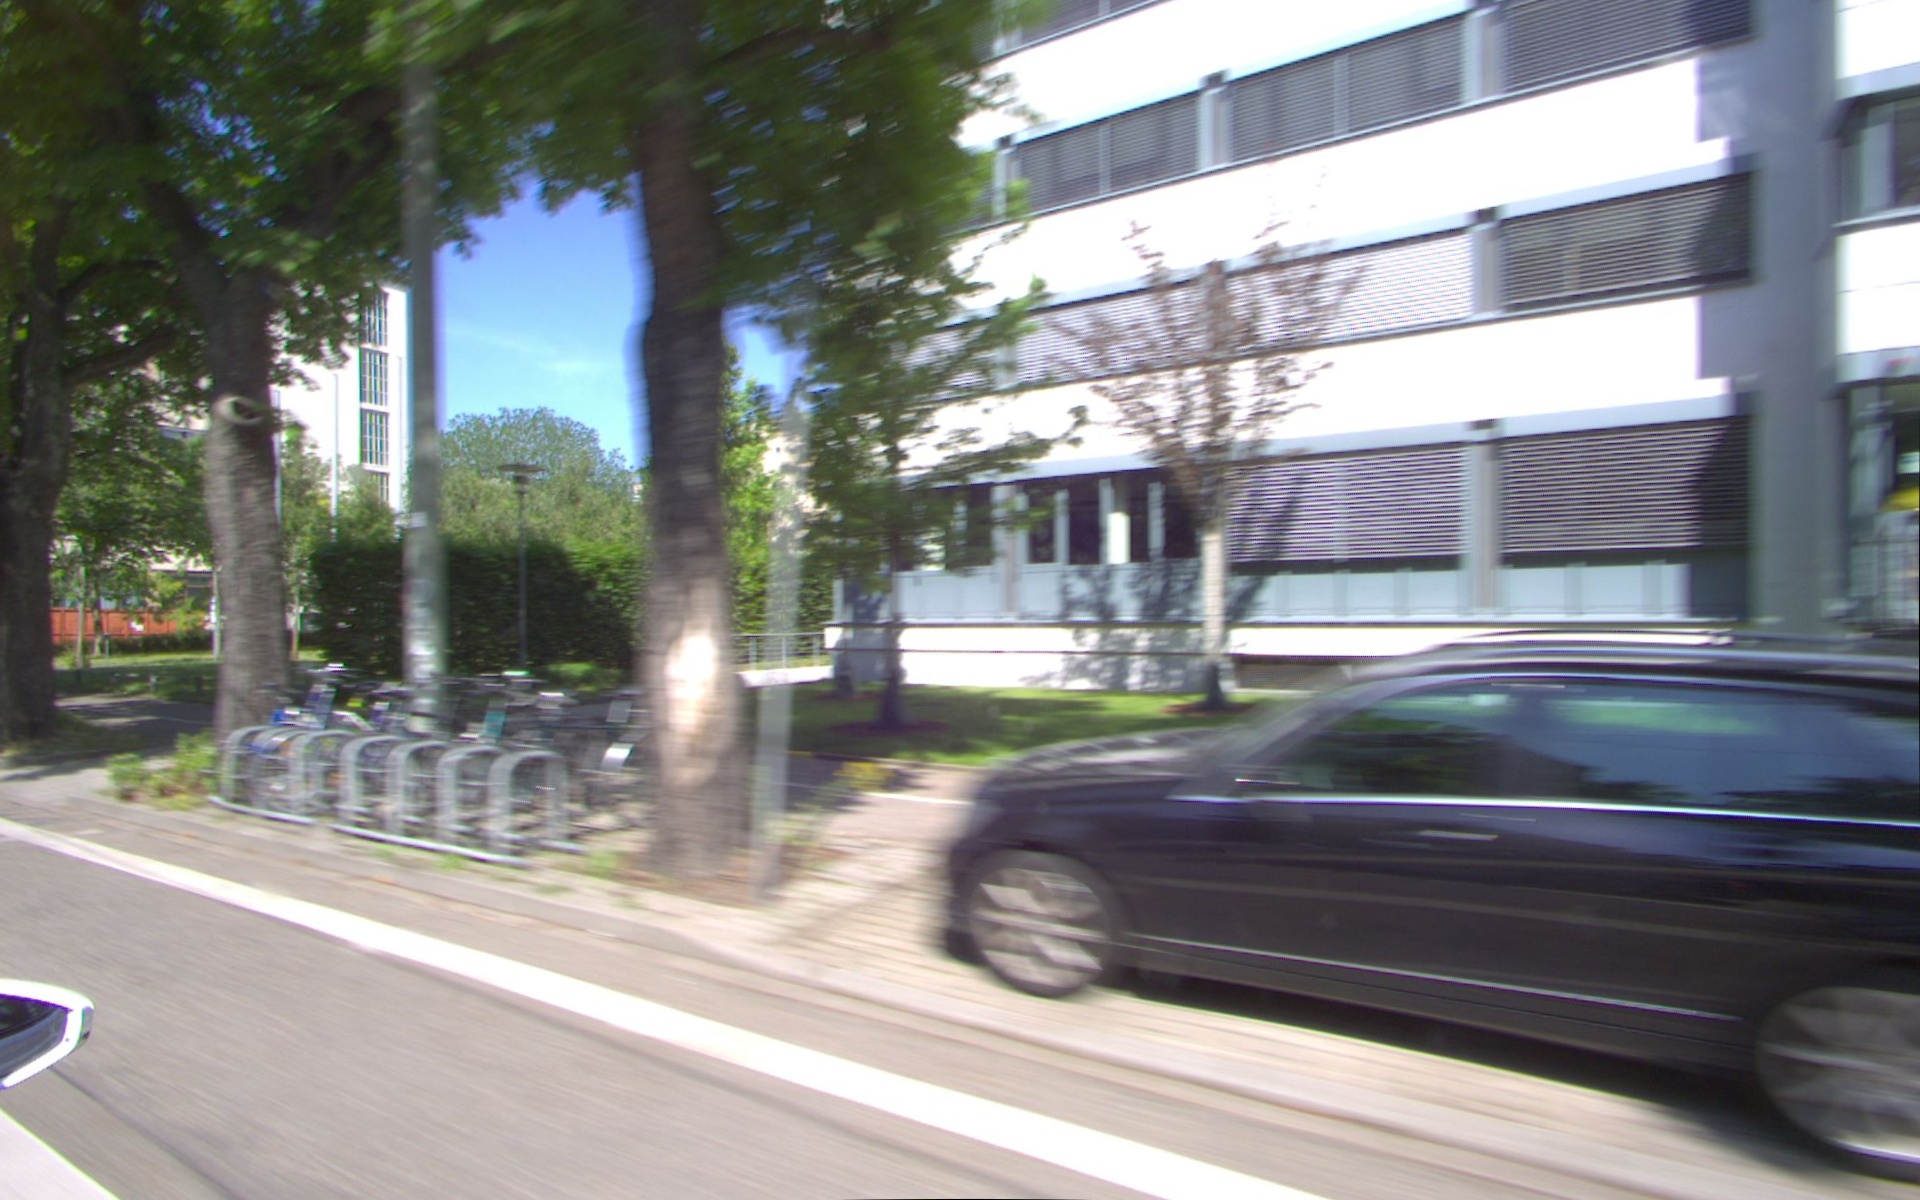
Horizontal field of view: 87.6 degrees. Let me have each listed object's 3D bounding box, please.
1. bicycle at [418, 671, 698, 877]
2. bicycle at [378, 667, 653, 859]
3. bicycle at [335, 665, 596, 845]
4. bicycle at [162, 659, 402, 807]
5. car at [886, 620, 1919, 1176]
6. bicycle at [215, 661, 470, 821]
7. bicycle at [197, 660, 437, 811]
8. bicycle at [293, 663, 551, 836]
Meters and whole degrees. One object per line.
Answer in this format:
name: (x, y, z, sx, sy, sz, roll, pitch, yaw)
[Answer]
bicycle: (-2.620, 1.075, 6.725, 0.619, 1.100, 1.721, 0, -1, 31)
bicycle: (-3.096, 1.078, 7.152, 0.686, 1.100, 1.721, 0, -1, 31)
bicycle: (-3.622, 1.082, 7.487, 0.562, 1.100, 1.721, 0, -1, 31)
bicycle: (-5.926, 1.114, 8.858, 0.471, 1.100, 1.721, 0, -1, 31)
car: (1.881, 0.833, 4.091, 4.210, 1.502, 1.627, -1, -1, 31)
bicycle: (-5.038, 1.093, 8.287, 0.606, 1.100, 1.721, 0, -1, 31)
bicycle: (-5.489, 1.105, 8.659, 0.471, 1.100, 1.721, 0, -1, 31)
bicycle: (-4.108, 1.086, 7.787, 0.580, 1.100, 1.721, 0, -1, 31)
